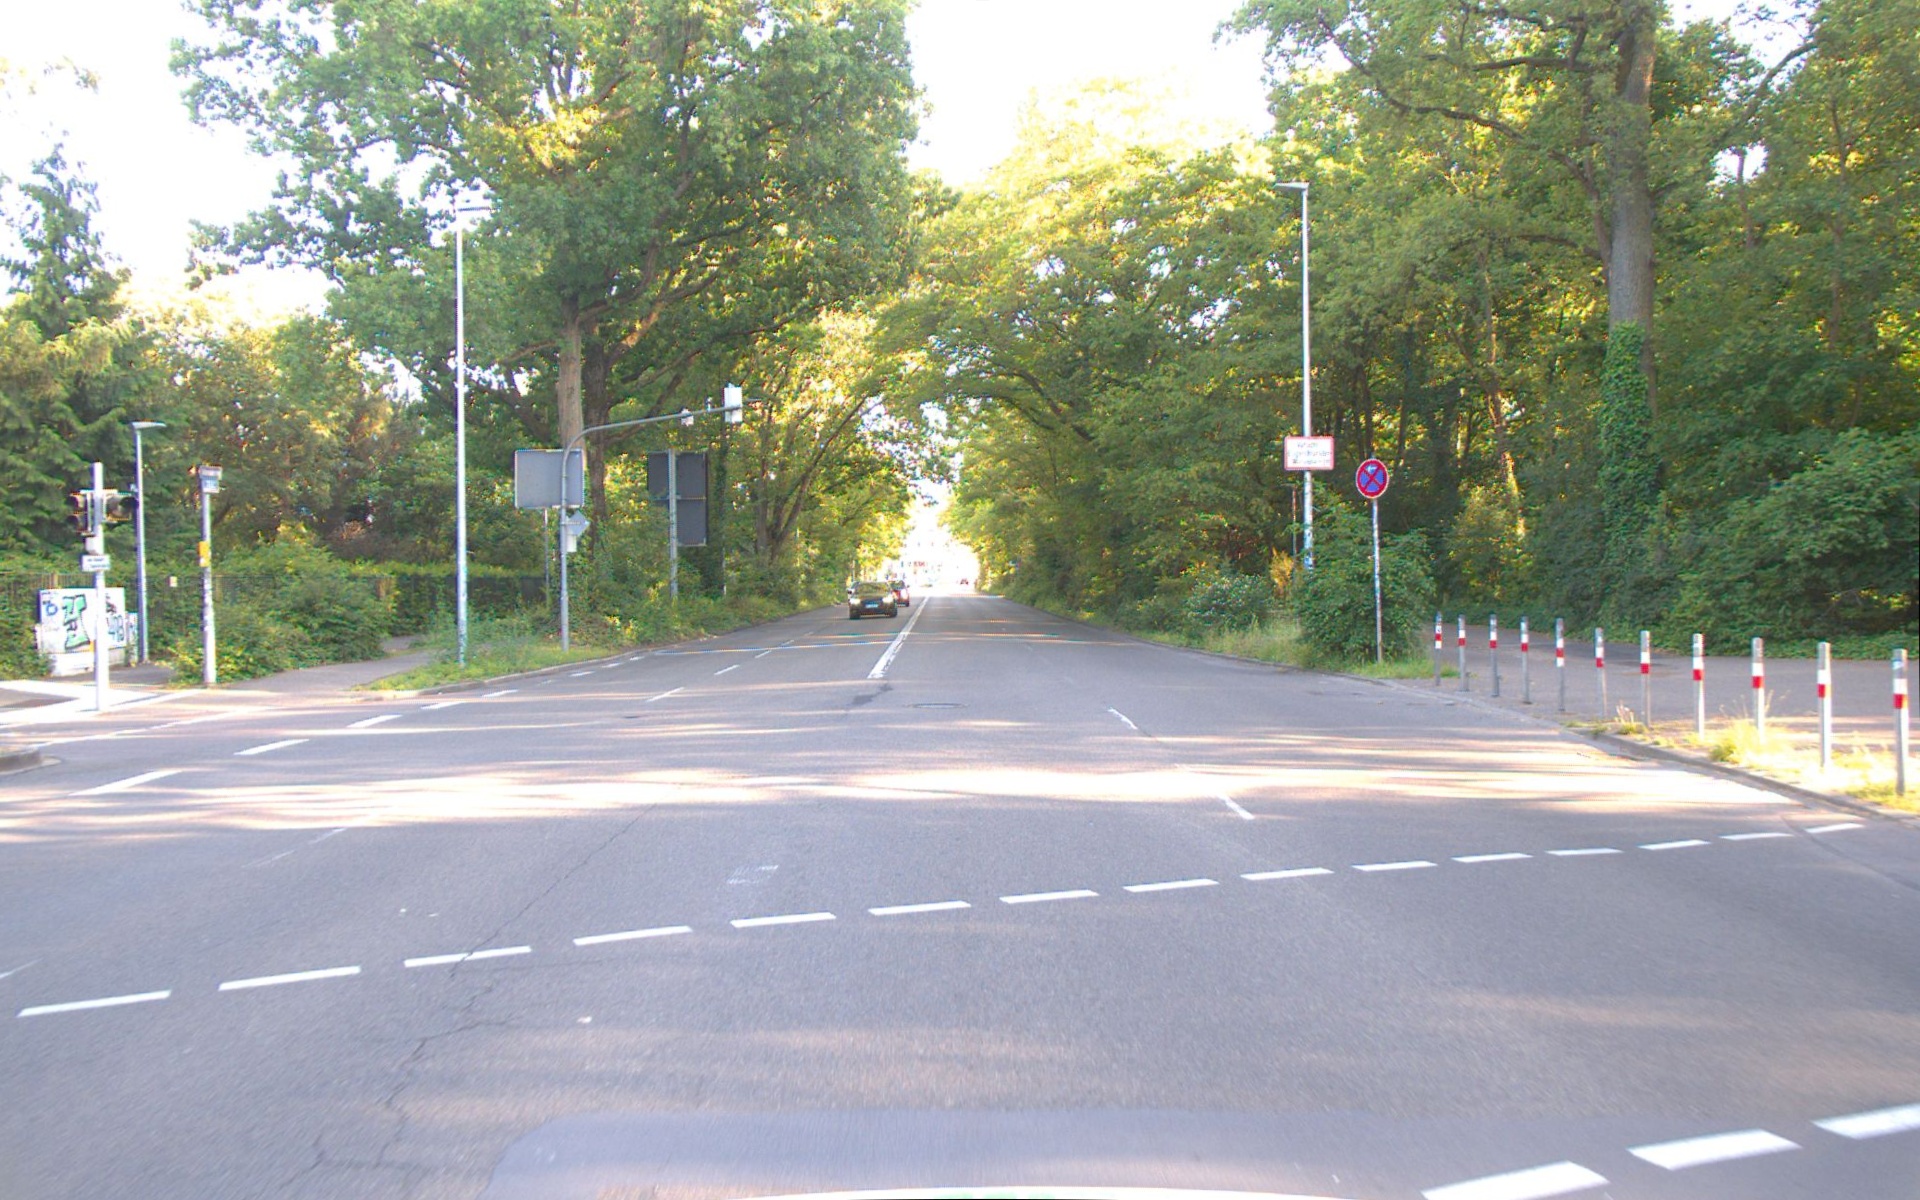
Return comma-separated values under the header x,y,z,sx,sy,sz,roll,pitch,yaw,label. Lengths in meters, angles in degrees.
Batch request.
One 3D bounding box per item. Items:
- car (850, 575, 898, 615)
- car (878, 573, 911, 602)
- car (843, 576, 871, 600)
x,y,z,sx,sy,sz,roll,pitch,yaw,label
-3.524,-0.226,68.724,1.849,1.533,4.363,-2,1,-2,car
-3.667,-0.688,92.678,1.761,1.533,4.363,-2,1,-2,car
-6.955,-0.811,111.950,1.761,1.533,4.363,-2,1,-2,car
